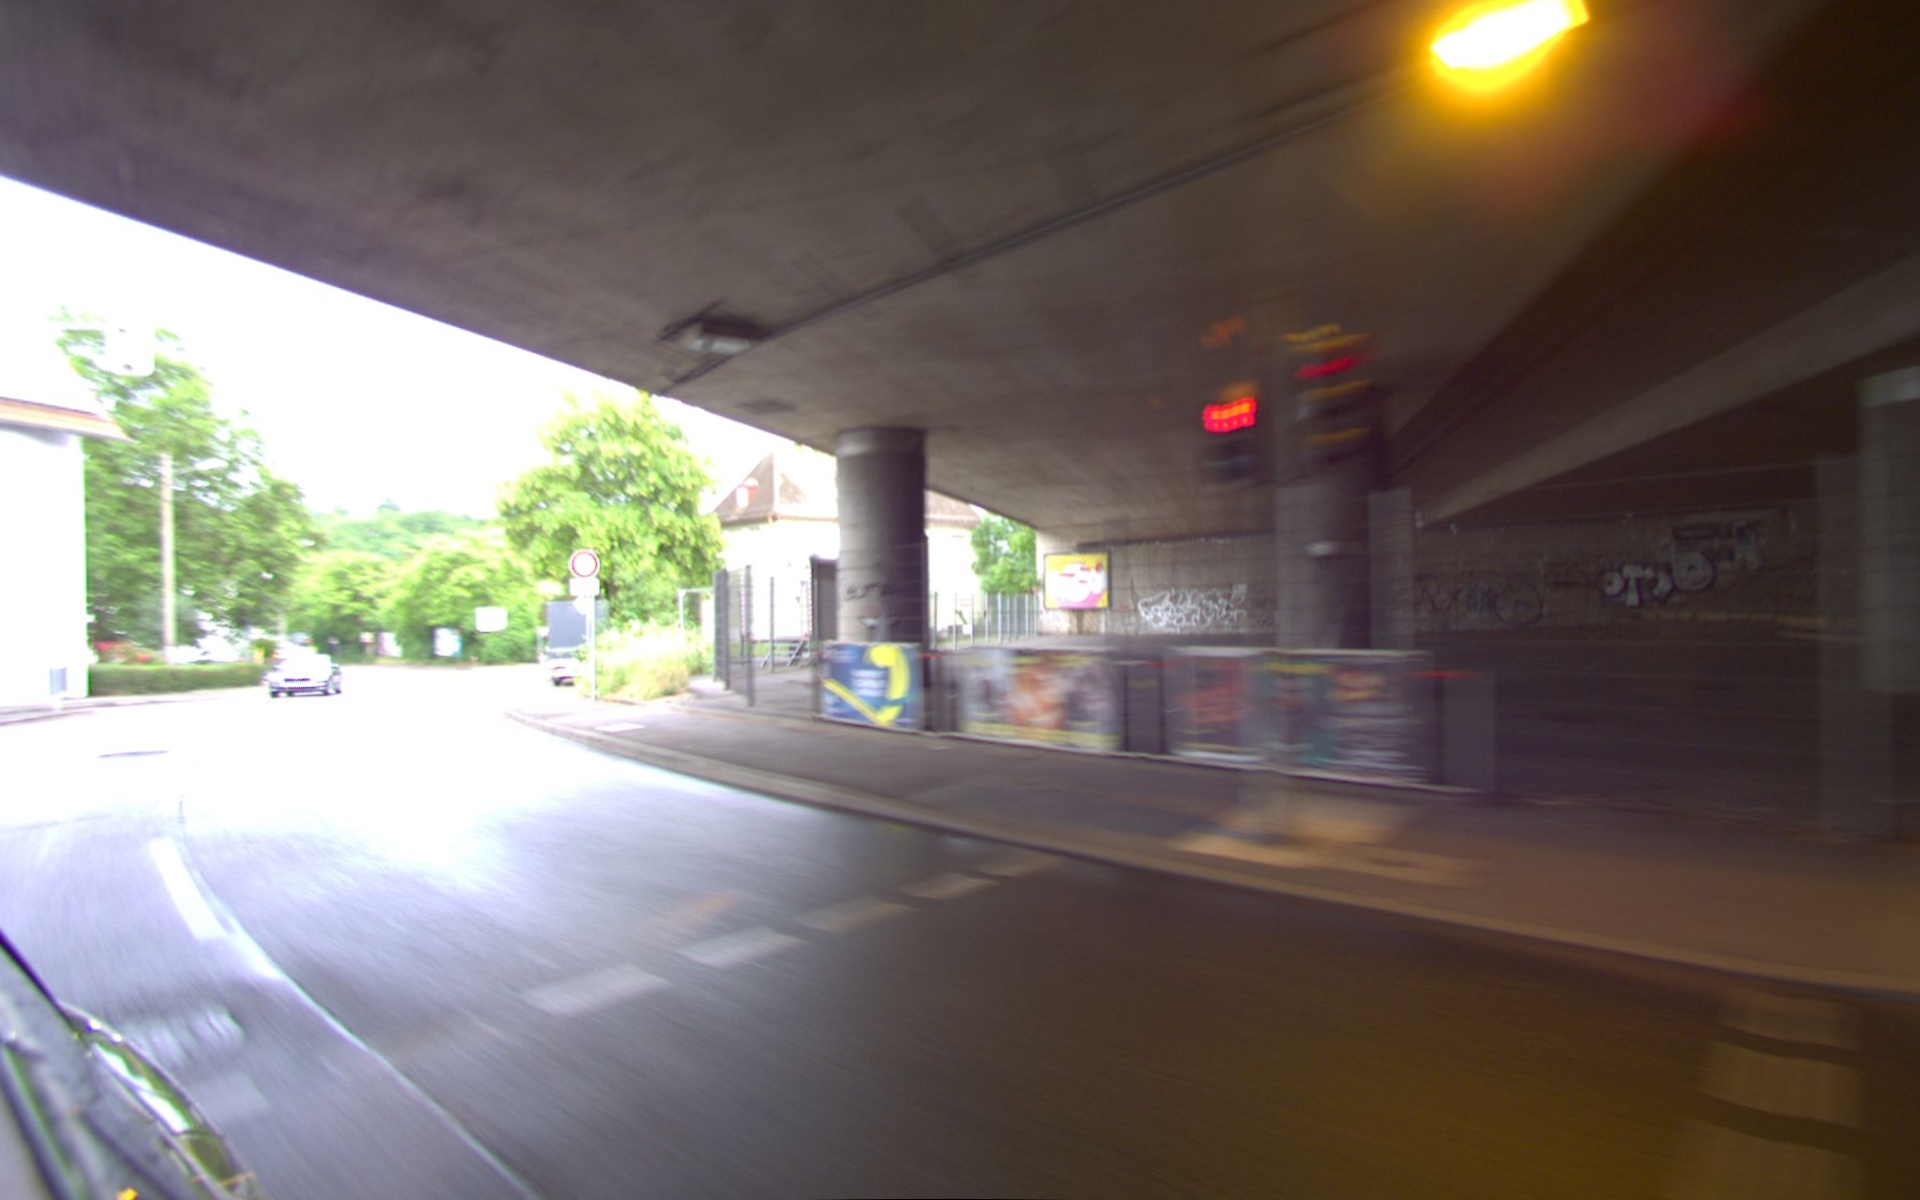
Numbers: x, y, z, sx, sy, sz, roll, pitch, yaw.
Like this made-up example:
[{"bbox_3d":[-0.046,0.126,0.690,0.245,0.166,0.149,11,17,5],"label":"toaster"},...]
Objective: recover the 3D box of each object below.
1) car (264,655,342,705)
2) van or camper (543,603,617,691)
[{"bbox_3d":[-22.824,2.737,35.297,1.679,1.569,4.013,-1,-3,-24],"label":"car"},{"bbox_3d":[-16.224,2.014,42.901,2.660,3.360,7.786,-1,-3,-23],"label":"van or camper"}]
